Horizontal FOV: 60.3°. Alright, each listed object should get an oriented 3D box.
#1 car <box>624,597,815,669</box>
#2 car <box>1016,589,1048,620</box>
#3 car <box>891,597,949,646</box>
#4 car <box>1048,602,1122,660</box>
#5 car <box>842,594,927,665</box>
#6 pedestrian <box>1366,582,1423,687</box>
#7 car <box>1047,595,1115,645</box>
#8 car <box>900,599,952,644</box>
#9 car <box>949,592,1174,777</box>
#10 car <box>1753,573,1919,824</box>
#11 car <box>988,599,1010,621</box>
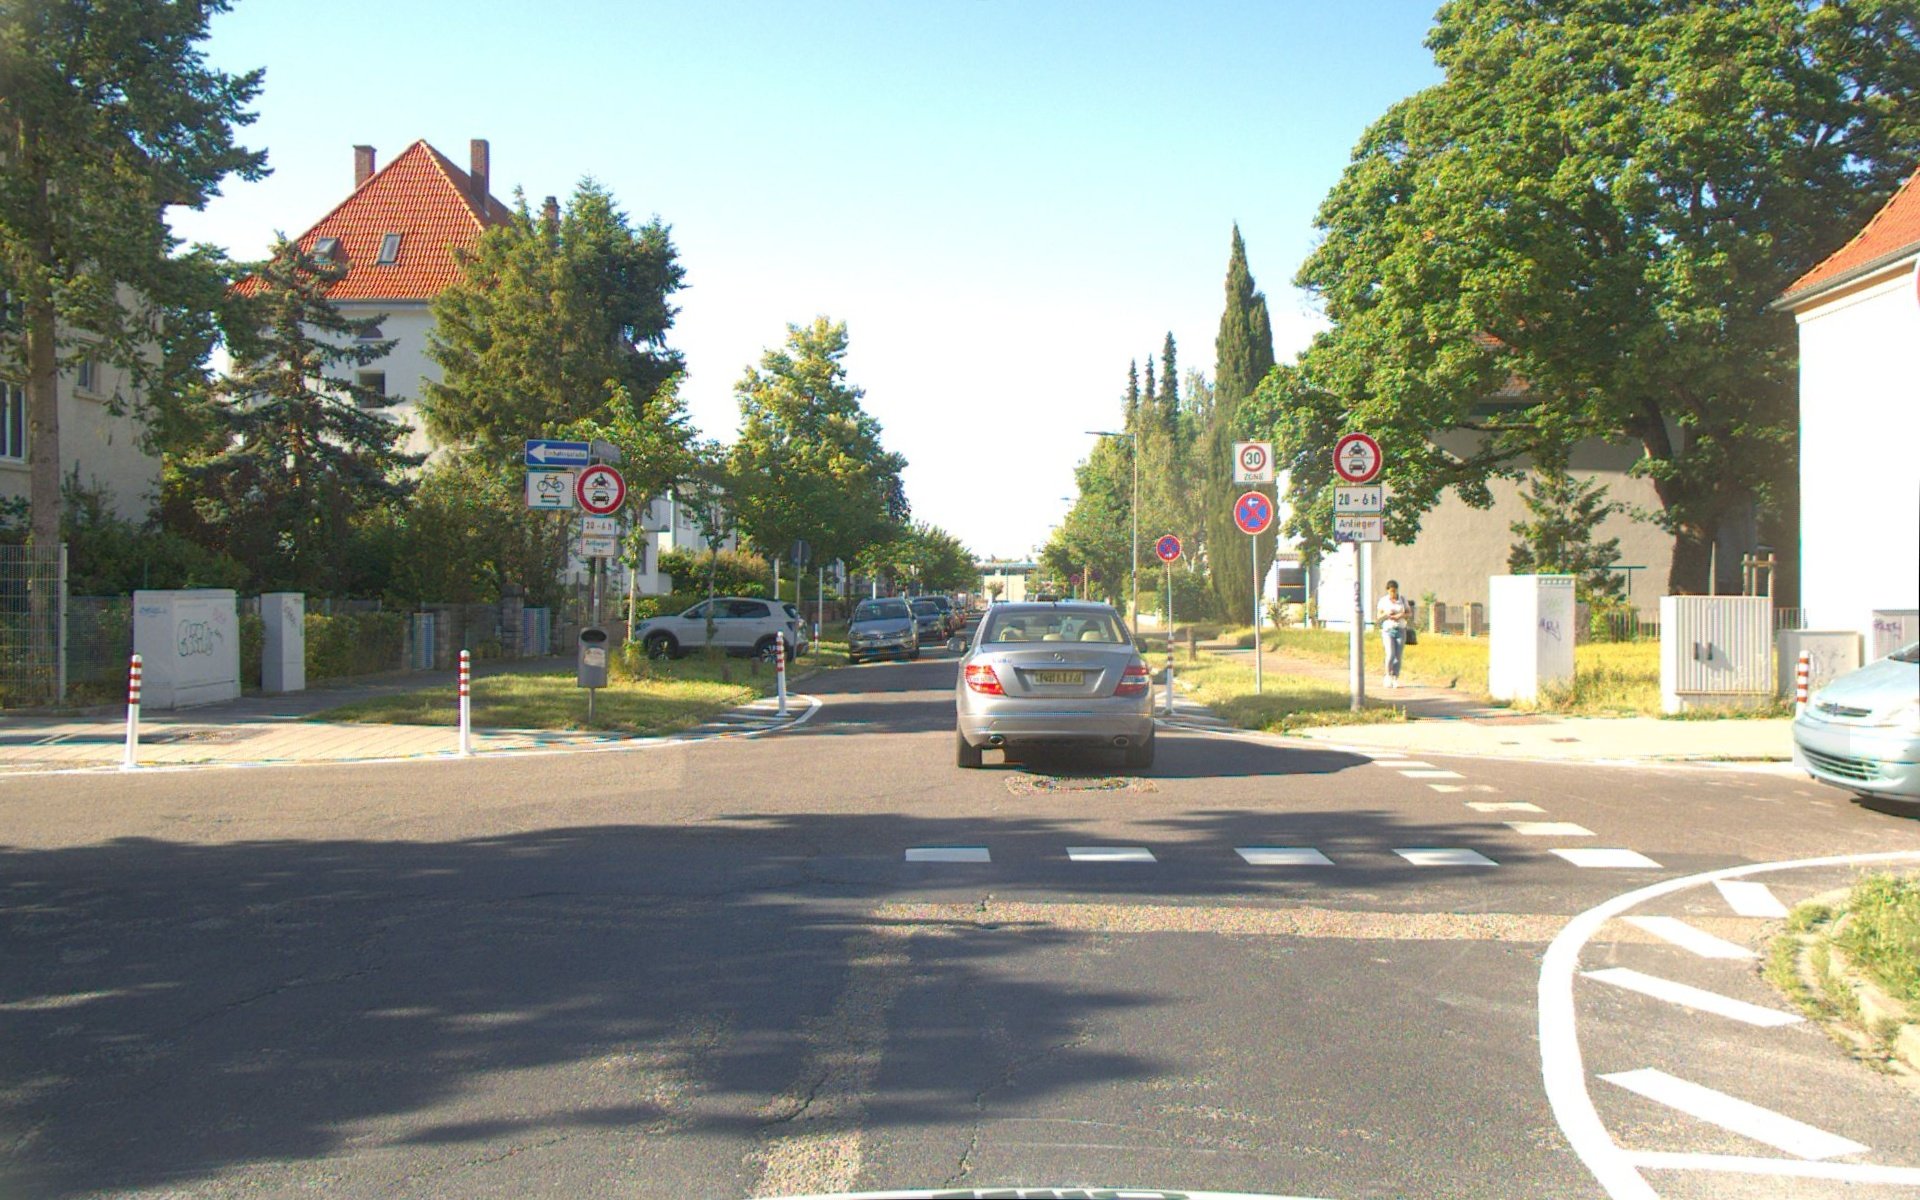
[{"bbox_3d":[-5.460,0.741,37.931,4.107,1.591,1.841,0,0,-2],"label":"car"},{"bbox_3d":[4.368,0.272,100.860,1.816,1.873,4.000,-1,0,1],"label":"car"},{"bbox_3d":[-1.438,0.753,60.815,1.953,1.637,4.000,-4,0,0],"label":"car"},{"bbox_3d":[3.384,0.812,45.203,1.698,1.505,3.725,-1,0,0],"label":"car"},{"bbox_3d":[-1.904,0.718,43.007,1.953,1.637,4.000,-4,0,0],"label":"car"},{"bbox_3d":[6.903,0.541,26.307,0.750,1.639,0.835,0,0,6],"label":"pedestrian"},{"bbox_3d":[4.033,0.645,55.789,1.953,1.638,4.000,-1,0,0],"label":"car"},{"bbox_3d":[-1.335,0.825,66.609,1.953,1.637,4.000,-4,0,0],"label":"car"},{"bbox_3d":[0.906,0.678,15.288,1.798,1.466,4.001,0,0,3],"label":"car"},{"bbox_3d":[8.118,0.623,11.661,4.145,1.636,1.889,0,0,2],"label":"car"},{"bbox_3d":[2.926,0.773,125.464,1.564,1.638,3.643,-1,0,0],"label":"car"}]
